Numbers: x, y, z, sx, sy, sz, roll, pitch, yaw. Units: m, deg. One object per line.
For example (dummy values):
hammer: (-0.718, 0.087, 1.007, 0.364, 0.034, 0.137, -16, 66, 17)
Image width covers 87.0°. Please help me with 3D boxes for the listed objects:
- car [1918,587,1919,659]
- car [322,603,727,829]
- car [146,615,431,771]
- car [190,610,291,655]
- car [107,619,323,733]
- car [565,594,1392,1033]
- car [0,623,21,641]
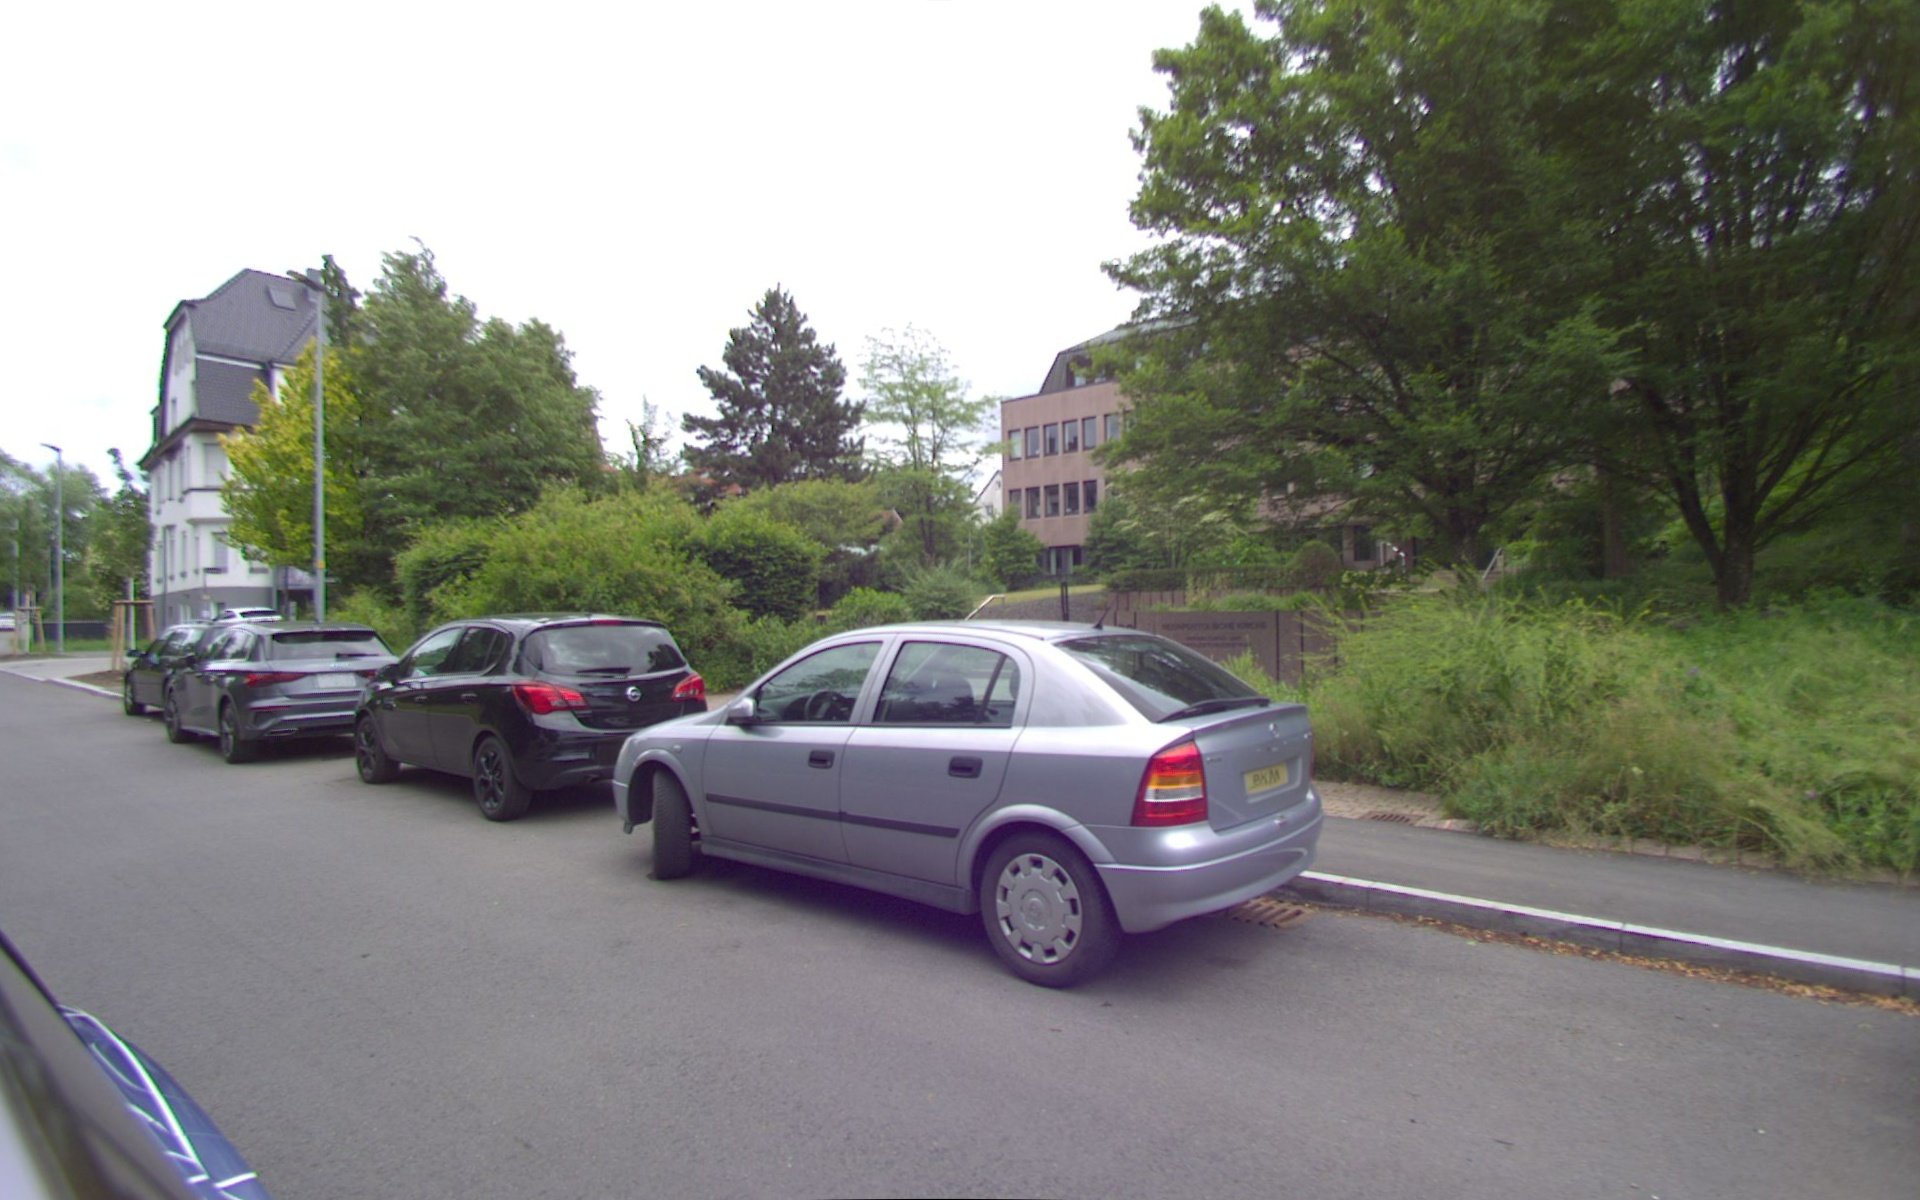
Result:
car: (4.690, 0.630, 1.136, 5.101, 1.443, 1.760, -1, -1, 40)
car: (-3.859, 0.822, 8.640, 3.998, 1.494, 1.607, -1, -2, 41)
car: (-7.981, 0.947, 11.849, 4.494, 1.494, 1.688, -1, -2, 42)
car: (-28.346, 1.221, 39.817, 4.589, 1.544, 1.888, 0, 3, 37)
car: (-11.454, 1.051, 15.430, 4.690, 1.494, 1.665, -1, -2, 41)
car: (-0.221, 0.760, 5.370, 4.347, 1.443, 1.607, -1, -2, 40)
car: (-80.870, 2.689, 85.591, 1.709, 1.439, 3.465, 2, -2, -37)
